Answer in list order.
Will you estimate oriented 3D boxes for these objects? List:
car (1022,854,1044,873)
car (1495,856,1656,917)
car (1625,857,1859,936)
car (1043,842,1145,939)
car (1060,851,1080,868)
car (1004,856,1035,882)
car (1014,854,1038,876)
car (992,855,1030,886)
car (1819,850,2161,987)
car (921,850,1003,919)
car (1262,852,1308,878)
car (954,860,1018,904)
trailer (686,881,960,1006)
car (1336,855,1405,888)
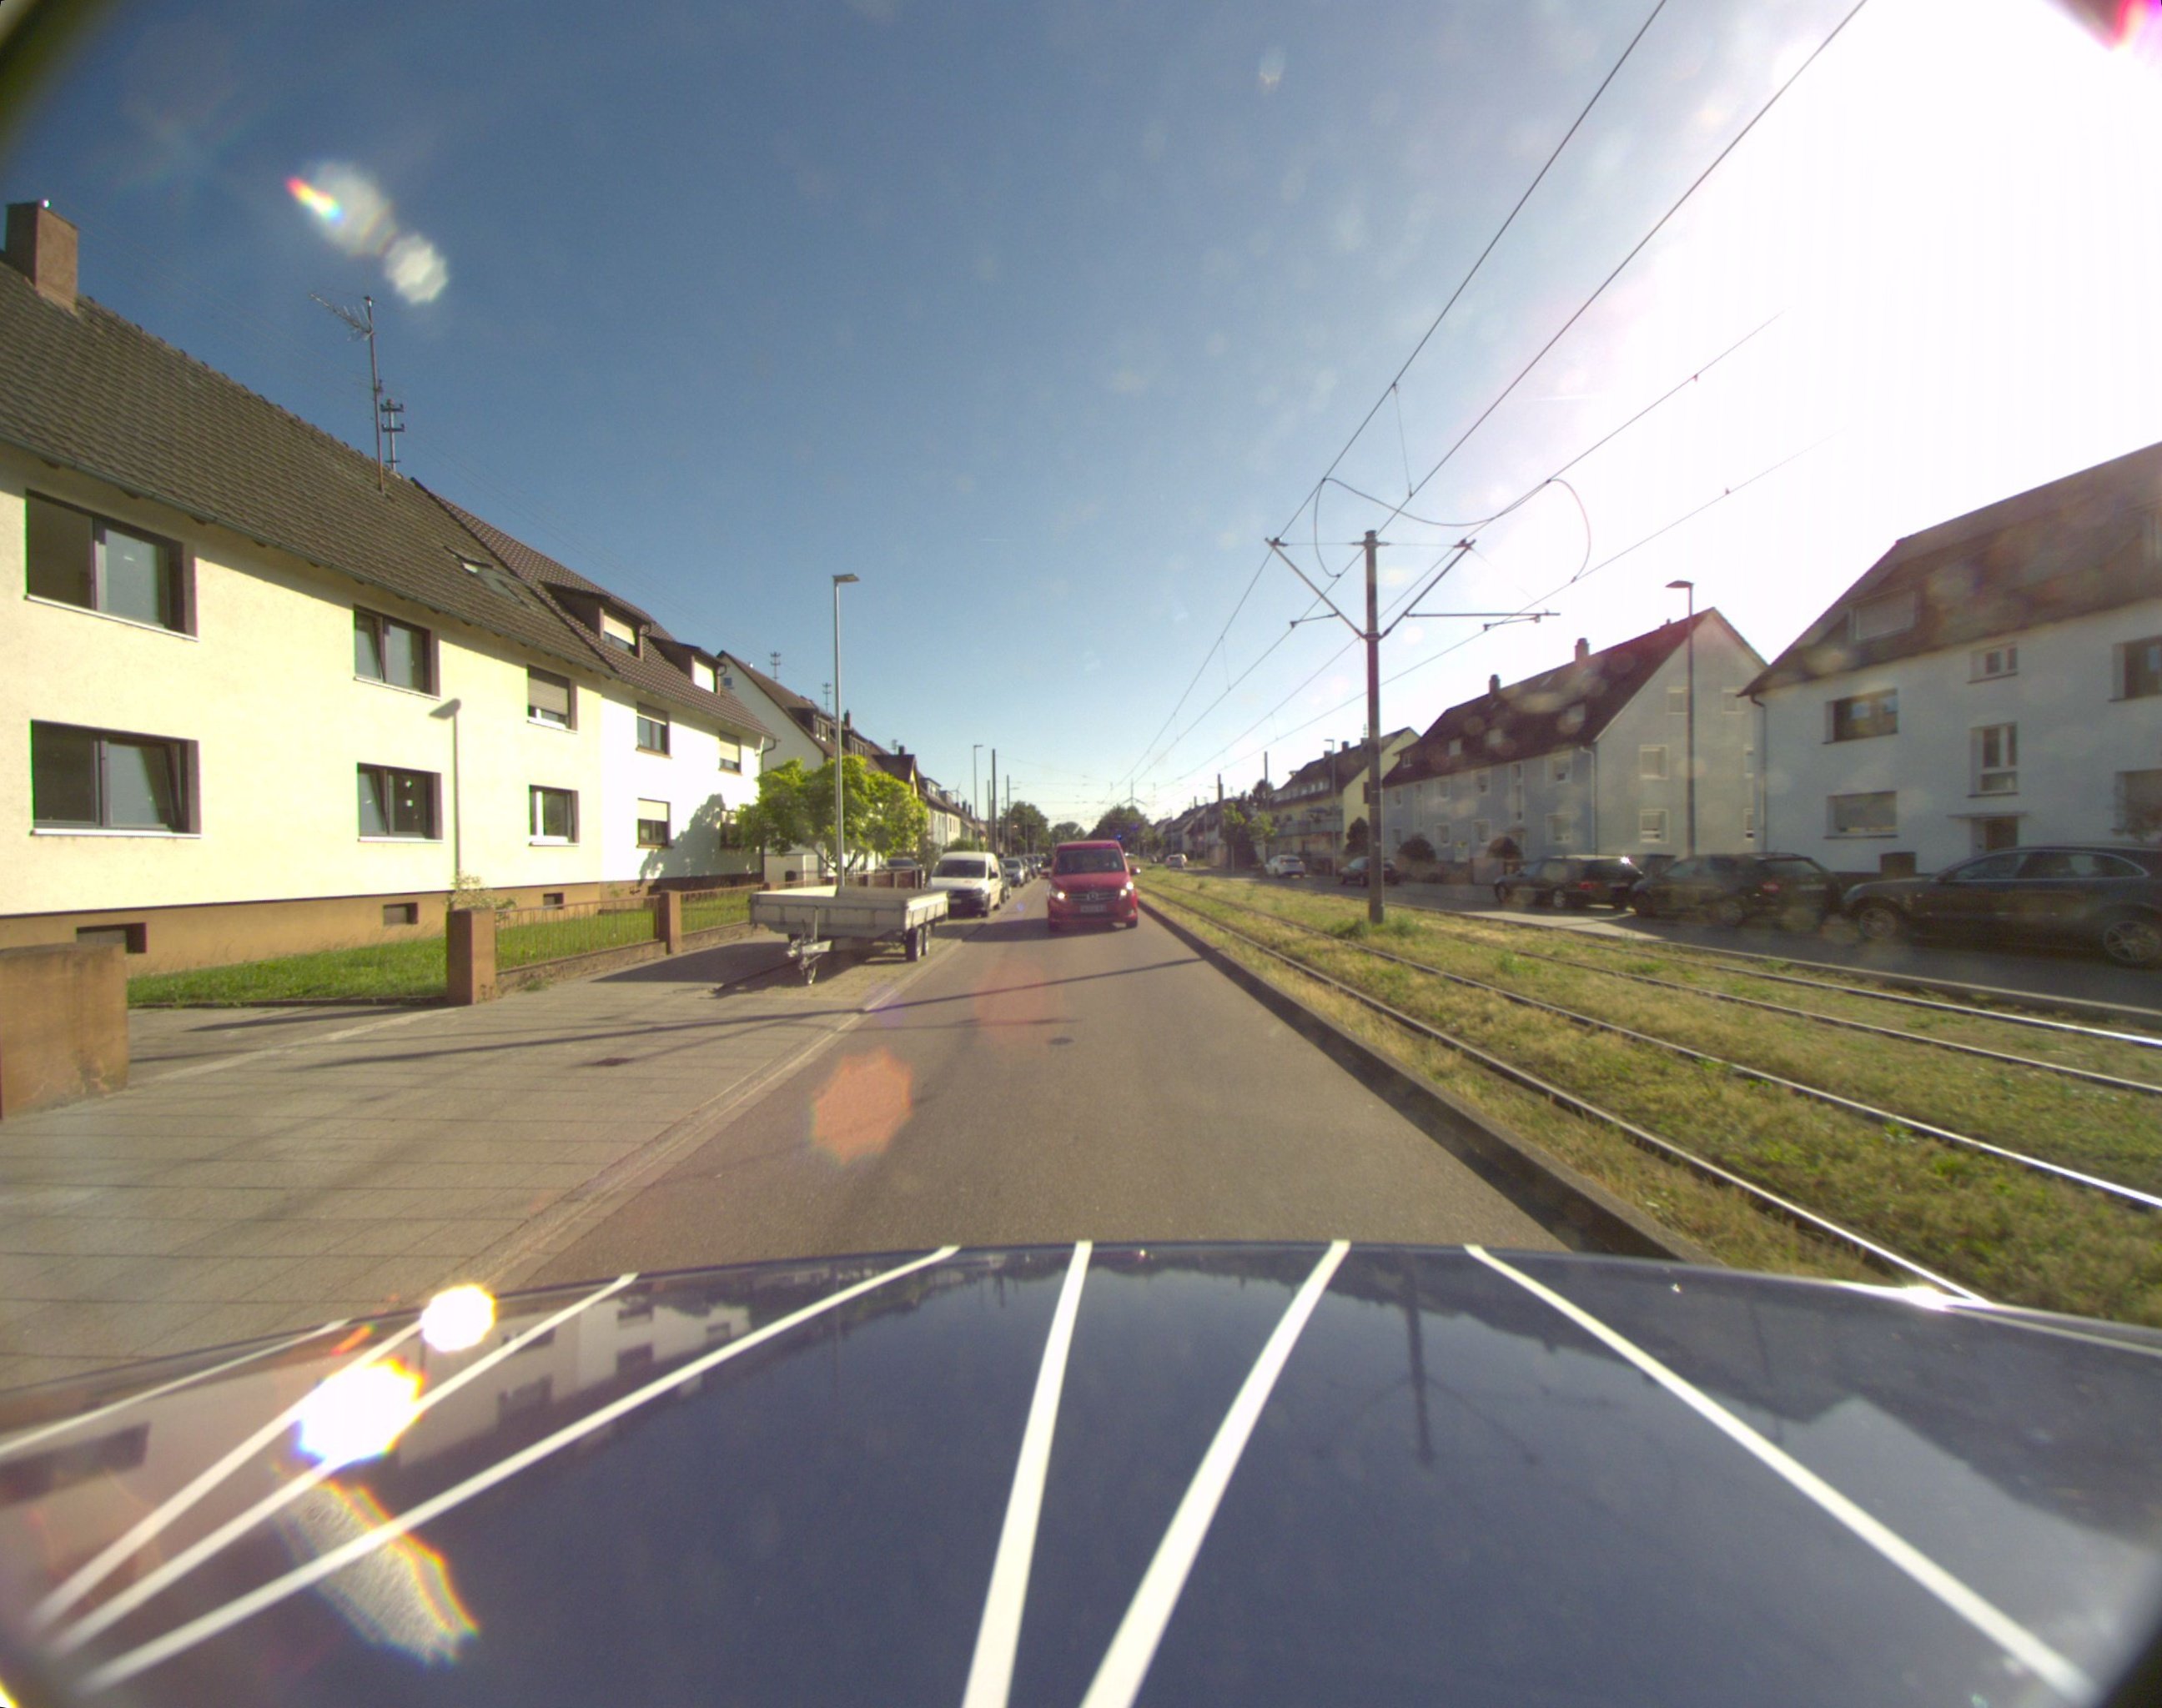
[{"bbox_3d":[-4.385,0.809,69.901,1.862,1.592,4.583,2,0,-2],"label":"car"},{"bbox_3d":[13.687,0.827,21.375,1.658,1.447,4.400,-2,0,0],"label":"car"},{"bbox_3d":[13.728,0.808,16.128,1.469,1.459,3.999,0,0,0],"label":"car"},{"bbox_3d":[0.282,0.714,17.876,1.998,1.889,5.390,-2,1,0],"label":"car"},{"bbox_3d":[-1.139,0.518,76.503,1.862,1.592,4.327,2,0,-2],"label":"car"},{"bbox_3d":[-3.718,0.899,46.454,1.632,1.460,4.481,2,0,-2],"label":"car"},{"bbox_3d":[-4.063,0.796,56.597,1.524,1.571,4.583,1,0,-2],"label":"car"},{"bbox_3d":[-3.670,0.849,40.343,1.682,1.471,4.388,2,0,-2],"label":"car"},{"bbox_3d":[13.853,0.757,10.833,1.925,1.551,4.858,-2,1,0],"label":"car"},{"bbox_3d":[-3.345,0.788,22.152,1.796,1.752,4.583,2,0,-2],"label":"car"},{"bbox_3d":[13.301,0.683,49.757,1.831,1.522,4.092,-2,1,0],"label":"car"},{"bbox_3d":[-3.447,0.980,28.410,1.828,1.461,4.441,0,0,0],"label":"car"},{"bbox_3d":[-3.416,1.132,11.789,2.278,1.124,6.434,2,0,-3],"label":"trailer"},{"bbox_3d":[13.656,0.789,36.072,1.704,1.389,4.092,-2,1,0],"label":"car"}]
